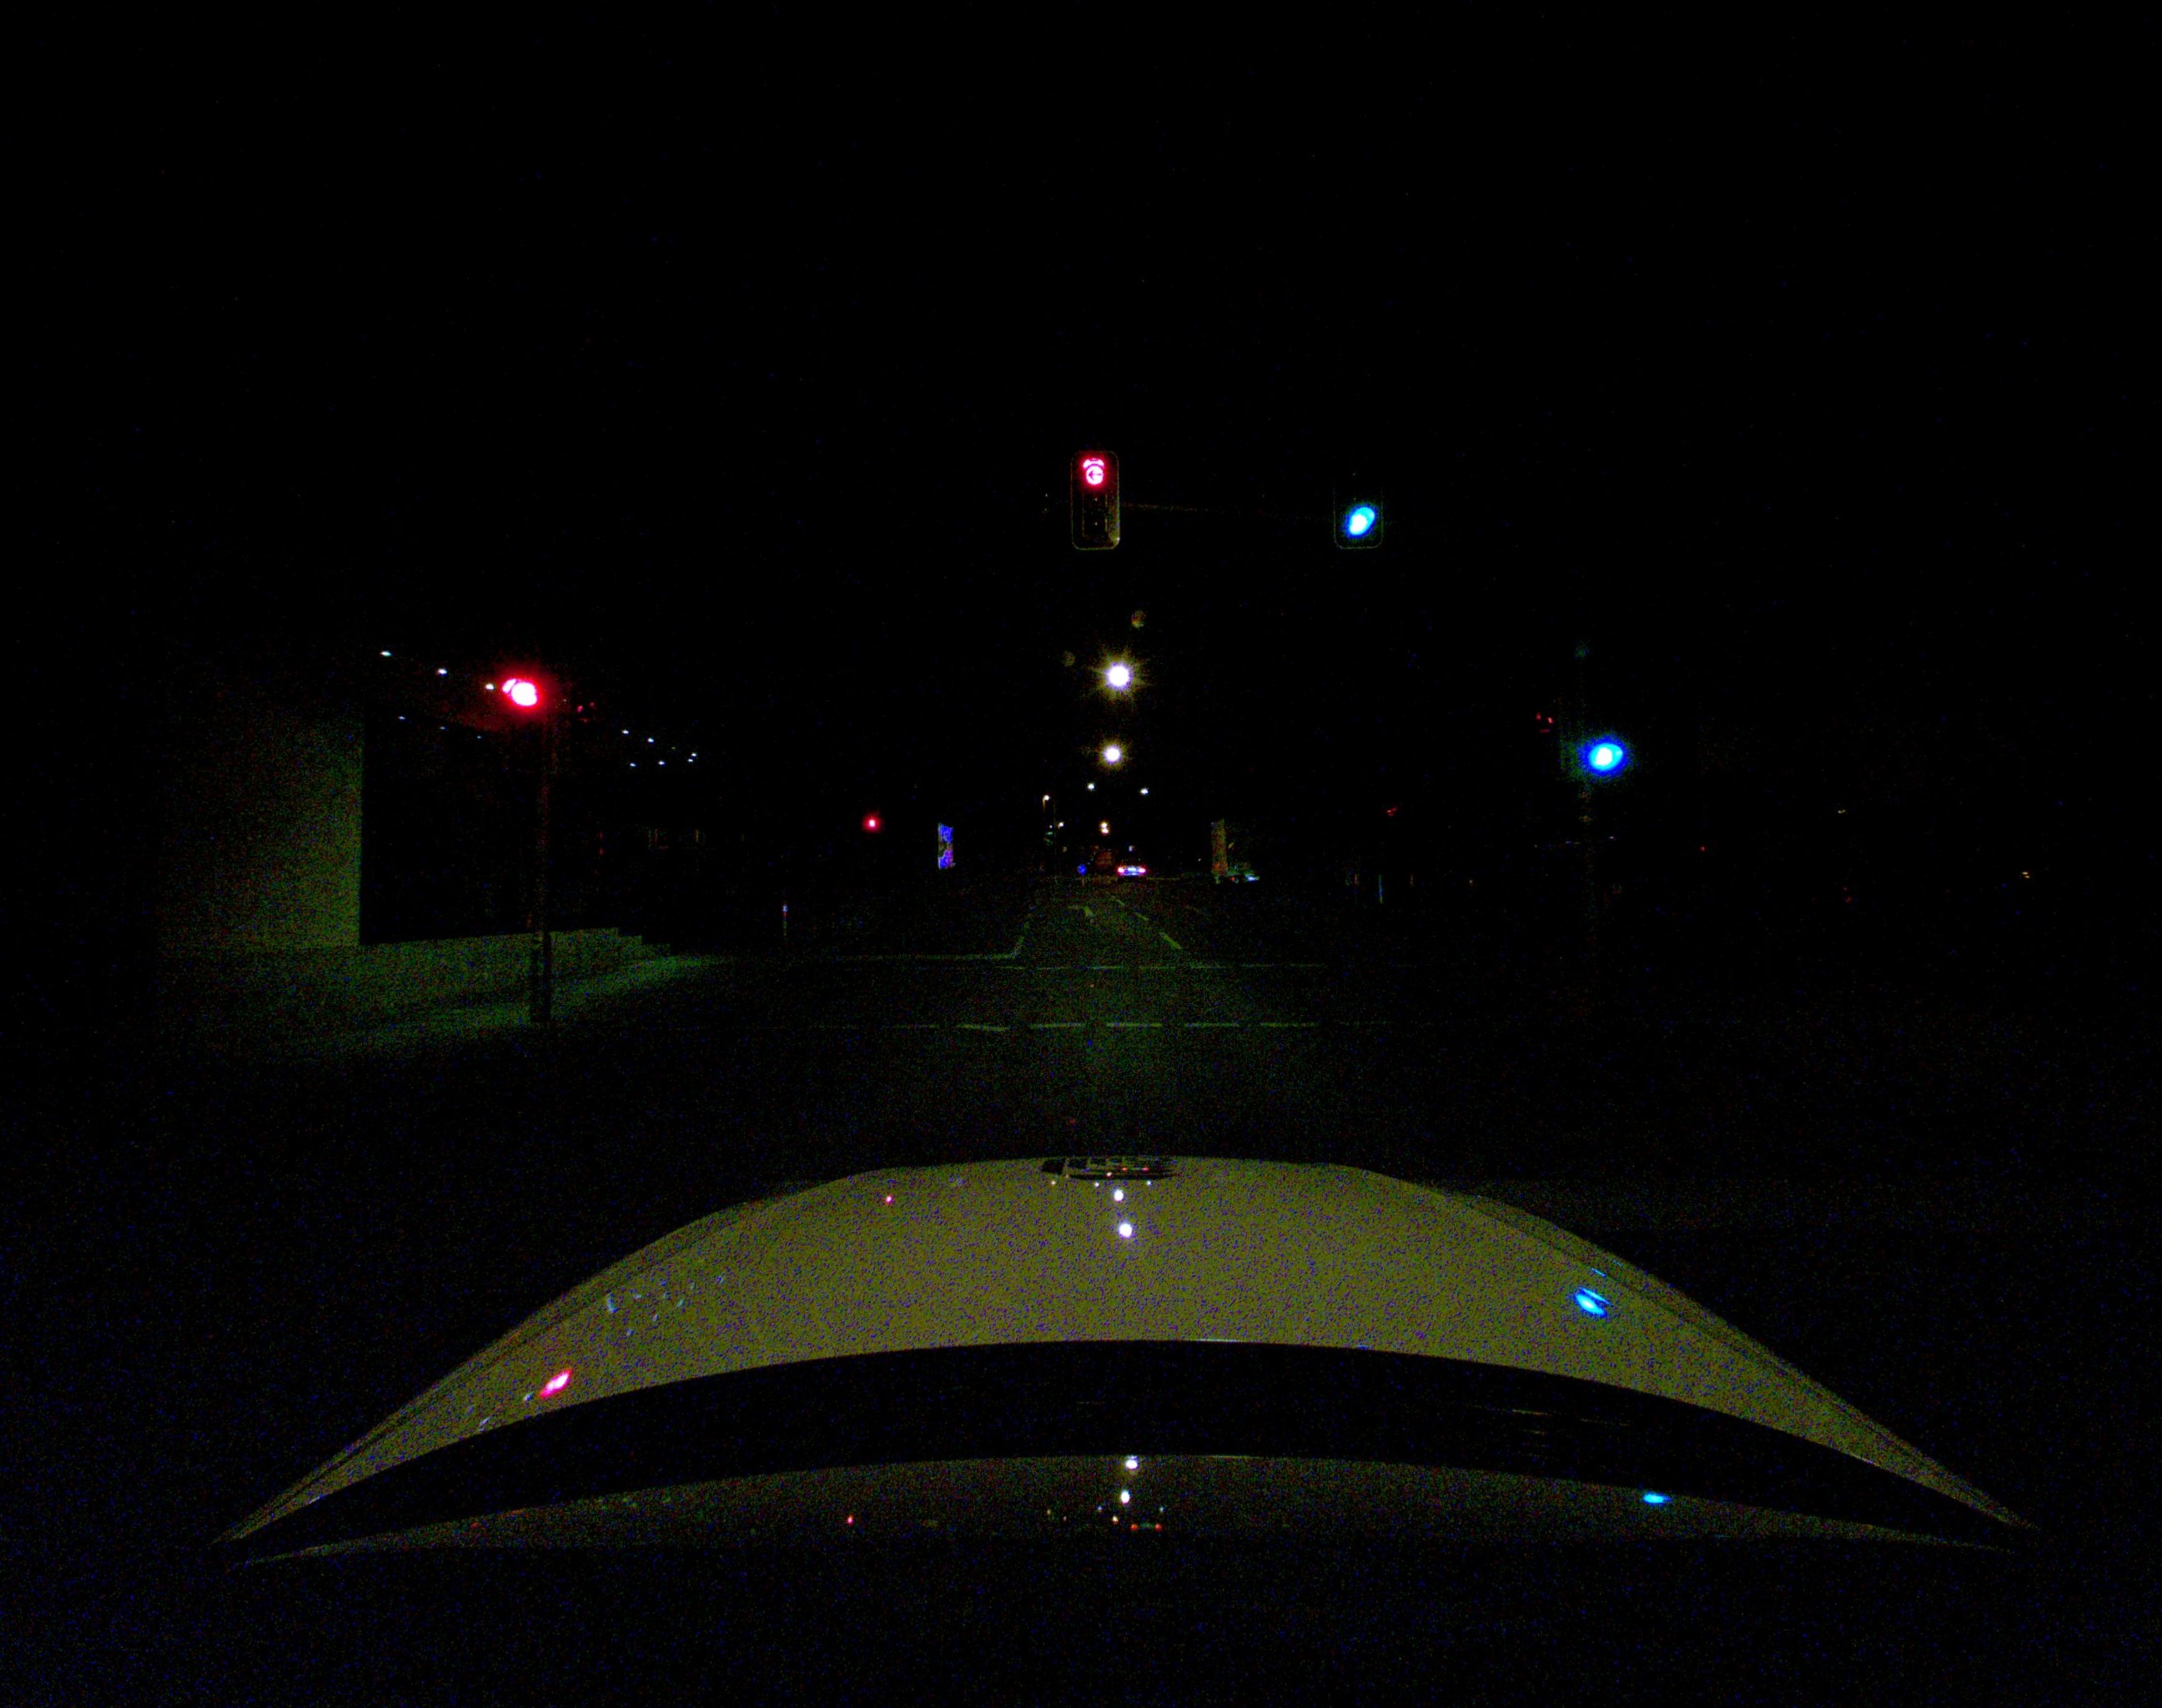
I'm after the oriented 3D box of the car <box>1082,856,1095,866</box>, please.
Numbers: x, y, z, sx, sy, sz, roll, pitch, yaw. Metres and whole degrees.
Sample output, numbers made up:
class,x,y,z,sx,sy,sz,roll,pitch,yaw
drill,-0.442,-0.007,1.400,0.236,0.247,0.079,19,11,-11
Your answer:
class,x,y,z,sx,sy,sz,roll,pitch,yaw
car,1.255,1.167,134.494,1.901,1.557,3.906,0,-1,2

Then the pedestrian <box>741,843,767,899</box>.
class,x,y,z,sx,sy,sz,roll,pitch,yaw
pedestrian,-10.151,0.529,25.305,0.568,1.731,0.544,0,-1,1

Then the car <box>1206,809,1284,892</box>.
class,x,y,z,sx,sy,sz,roll,pitch,yaw
car,6.761,-0.129,34.221,2.287,3.093,5.845,-2,-1,3

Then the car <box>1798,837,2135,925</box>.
class,x,y,z,sx,sy,sz,roll,pitch,yaw
car,17.456,0.564,16.290,4.342,1.560,1.807,-2,-3,8

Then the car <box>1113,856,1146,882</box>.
class,x,y,z,sx,sy,sz,roll,pitch,yaw
car,2.945,0.898,50.297,1.770,1.486,3.999,0,-1,0

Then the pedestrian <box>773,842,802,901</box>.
class,x,y,z,sx,sy,sz,roll,pitch,yaw
pedestrian,-9.128,0.542,25.323,0.568,1.778,0.737,1,-1,1
